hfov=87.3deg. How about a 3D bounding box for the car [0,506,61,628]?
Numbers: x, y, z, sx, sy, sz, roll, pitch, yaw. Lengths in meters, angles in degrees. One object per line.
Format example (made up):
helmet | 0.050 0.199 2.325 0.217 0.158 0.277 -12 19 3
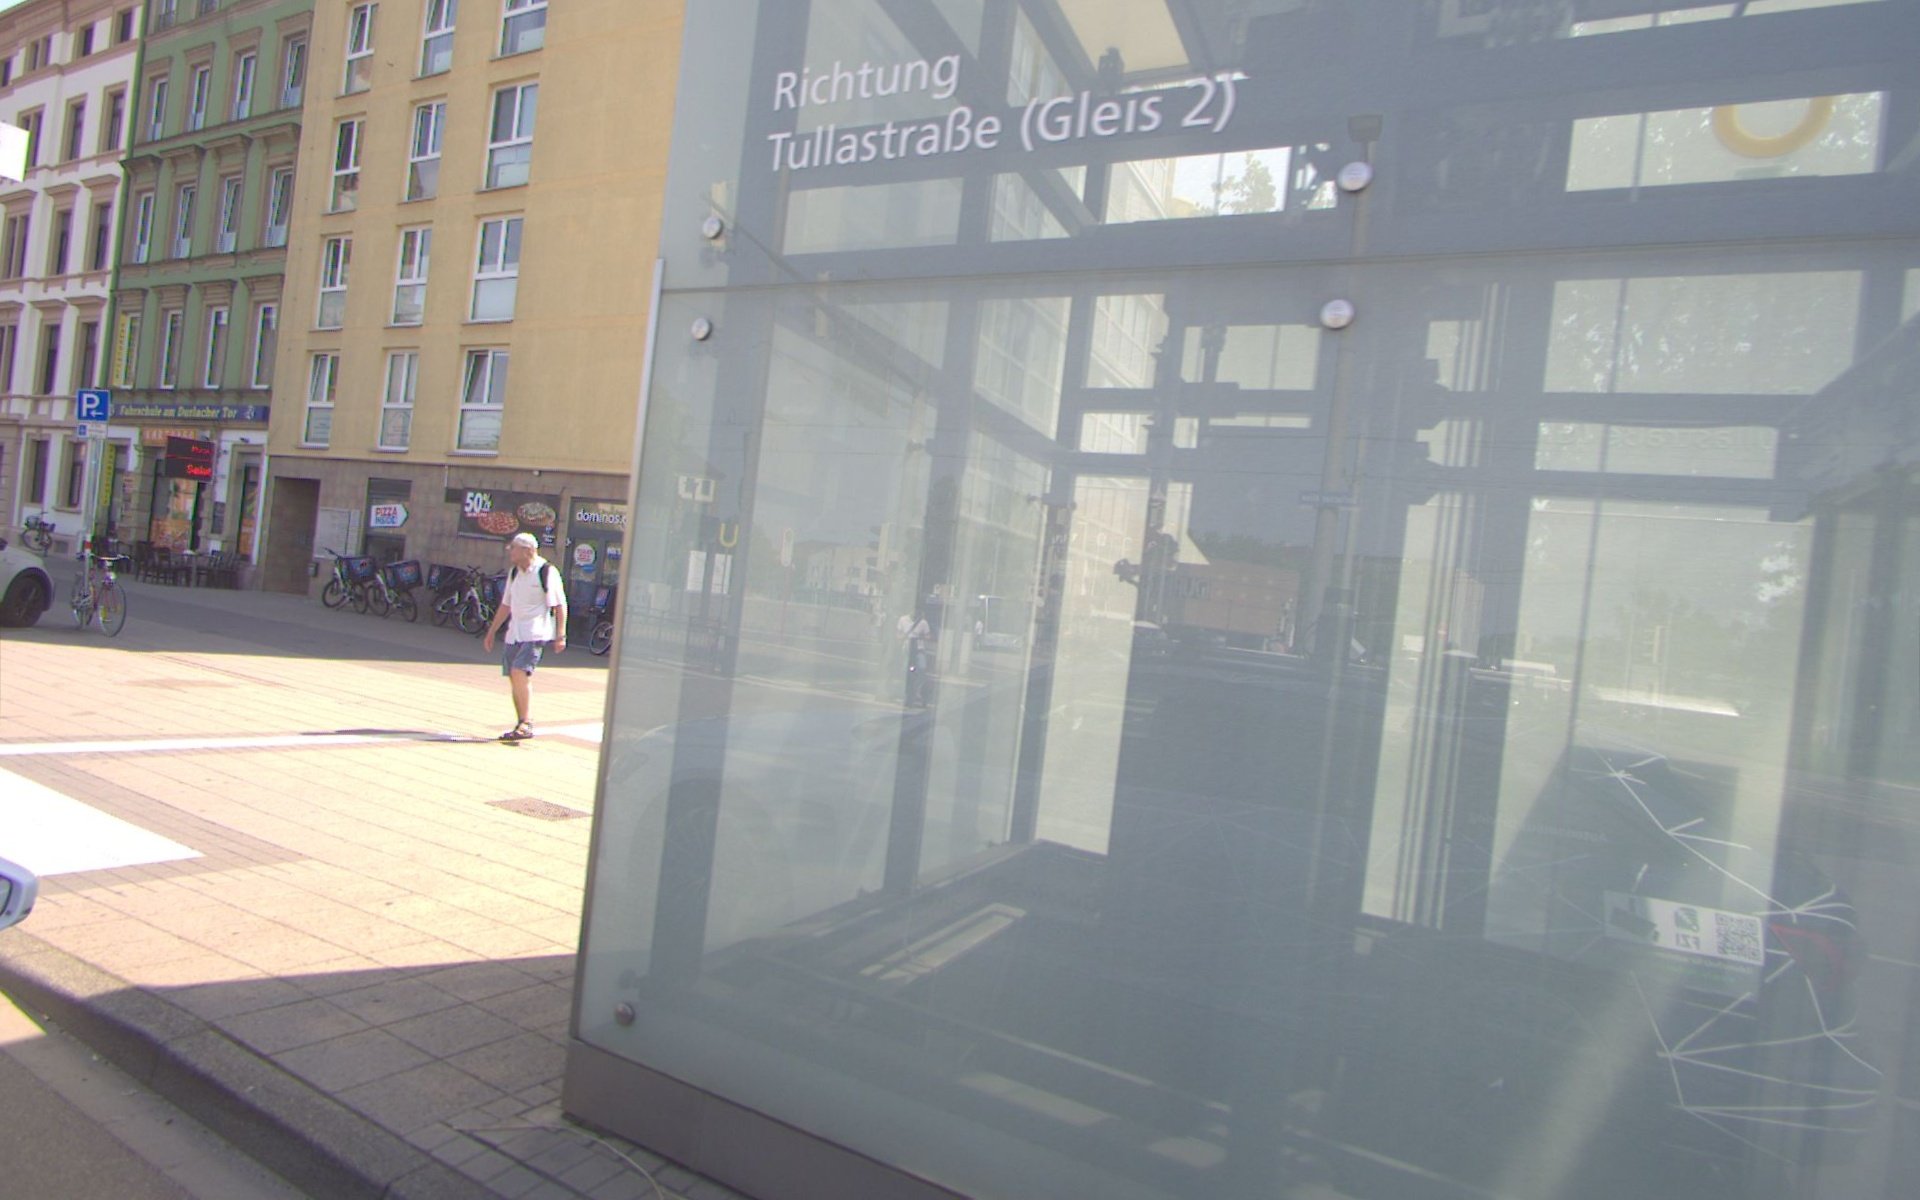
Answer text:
car | -12.570 -0.555 11.340 1.778 1.517 3.780 9 -3 -11

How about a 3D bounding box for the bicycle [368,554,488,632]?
bicycle | -10.588 -0.149 19.982 2.382 1.253 0.940 7 0 32

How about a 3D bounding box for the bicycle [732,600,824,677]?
bicycle | -3.157 0.695 17.581 0.579 1.221 1.726 7 0 25

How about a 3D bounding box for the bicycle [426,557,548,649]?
bicycle | -8.533 0.049 18.370 0.888 1.422 3.360 6 -1 -7

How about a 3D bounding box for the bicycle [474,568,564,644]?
bicycle | -8.475 0.111 19.311 1.795 1.253 0.409 7 0 26

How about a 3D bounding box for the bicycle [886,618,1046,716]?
bicycle | 0.086 1.064 16.331 2.393 1.254 0.793 6 0 28

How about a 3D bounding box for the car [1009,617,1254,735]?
car | 3.317 1.466 19.461 4.171 1.483 1.912 6 -8 26

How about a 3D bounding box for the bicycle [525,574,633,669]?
bicycle | -6.592 0.339 17.664 0.888 1.422 3.360 6 -1 -7

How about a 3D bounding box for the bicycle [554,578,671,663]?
bicycle | -6.184 0.358 17.867 1.926 1.262 0.729 7 0 28

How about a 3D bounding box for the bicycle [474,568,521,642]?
bicycle | -8.600 0.072 18.674 0.585 1.253 1.534 6 0 -29

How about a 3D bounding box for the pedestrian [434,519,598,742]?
pedestrian | -3.934 0.276 8.940 0.800 1.829 0.821 6 -1 29

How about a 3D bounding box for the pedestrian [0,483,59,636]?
pedestrian | -11.334 -0.505 11.507 0.887 1.724 1.039 7 -1 2

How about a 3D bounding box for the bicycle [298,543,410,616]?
bicycle | -12.801 -0.435 21.233 2.382 1.253 0.940 7 0 32

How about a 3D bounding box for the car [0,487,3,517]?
car | -15.196 -0.966 13.033 1.955 1.708 4.382 7 -1 -13

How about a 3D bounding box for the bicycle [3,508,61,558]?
bicycle | -26.934 -1.947 29.173 2.429 1.161 0.481 9 1 31

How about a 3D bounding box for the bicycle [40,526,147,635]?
bicycle | -11.594 -0.269 13.445 1.762 1.312 0.473 5 0 31
